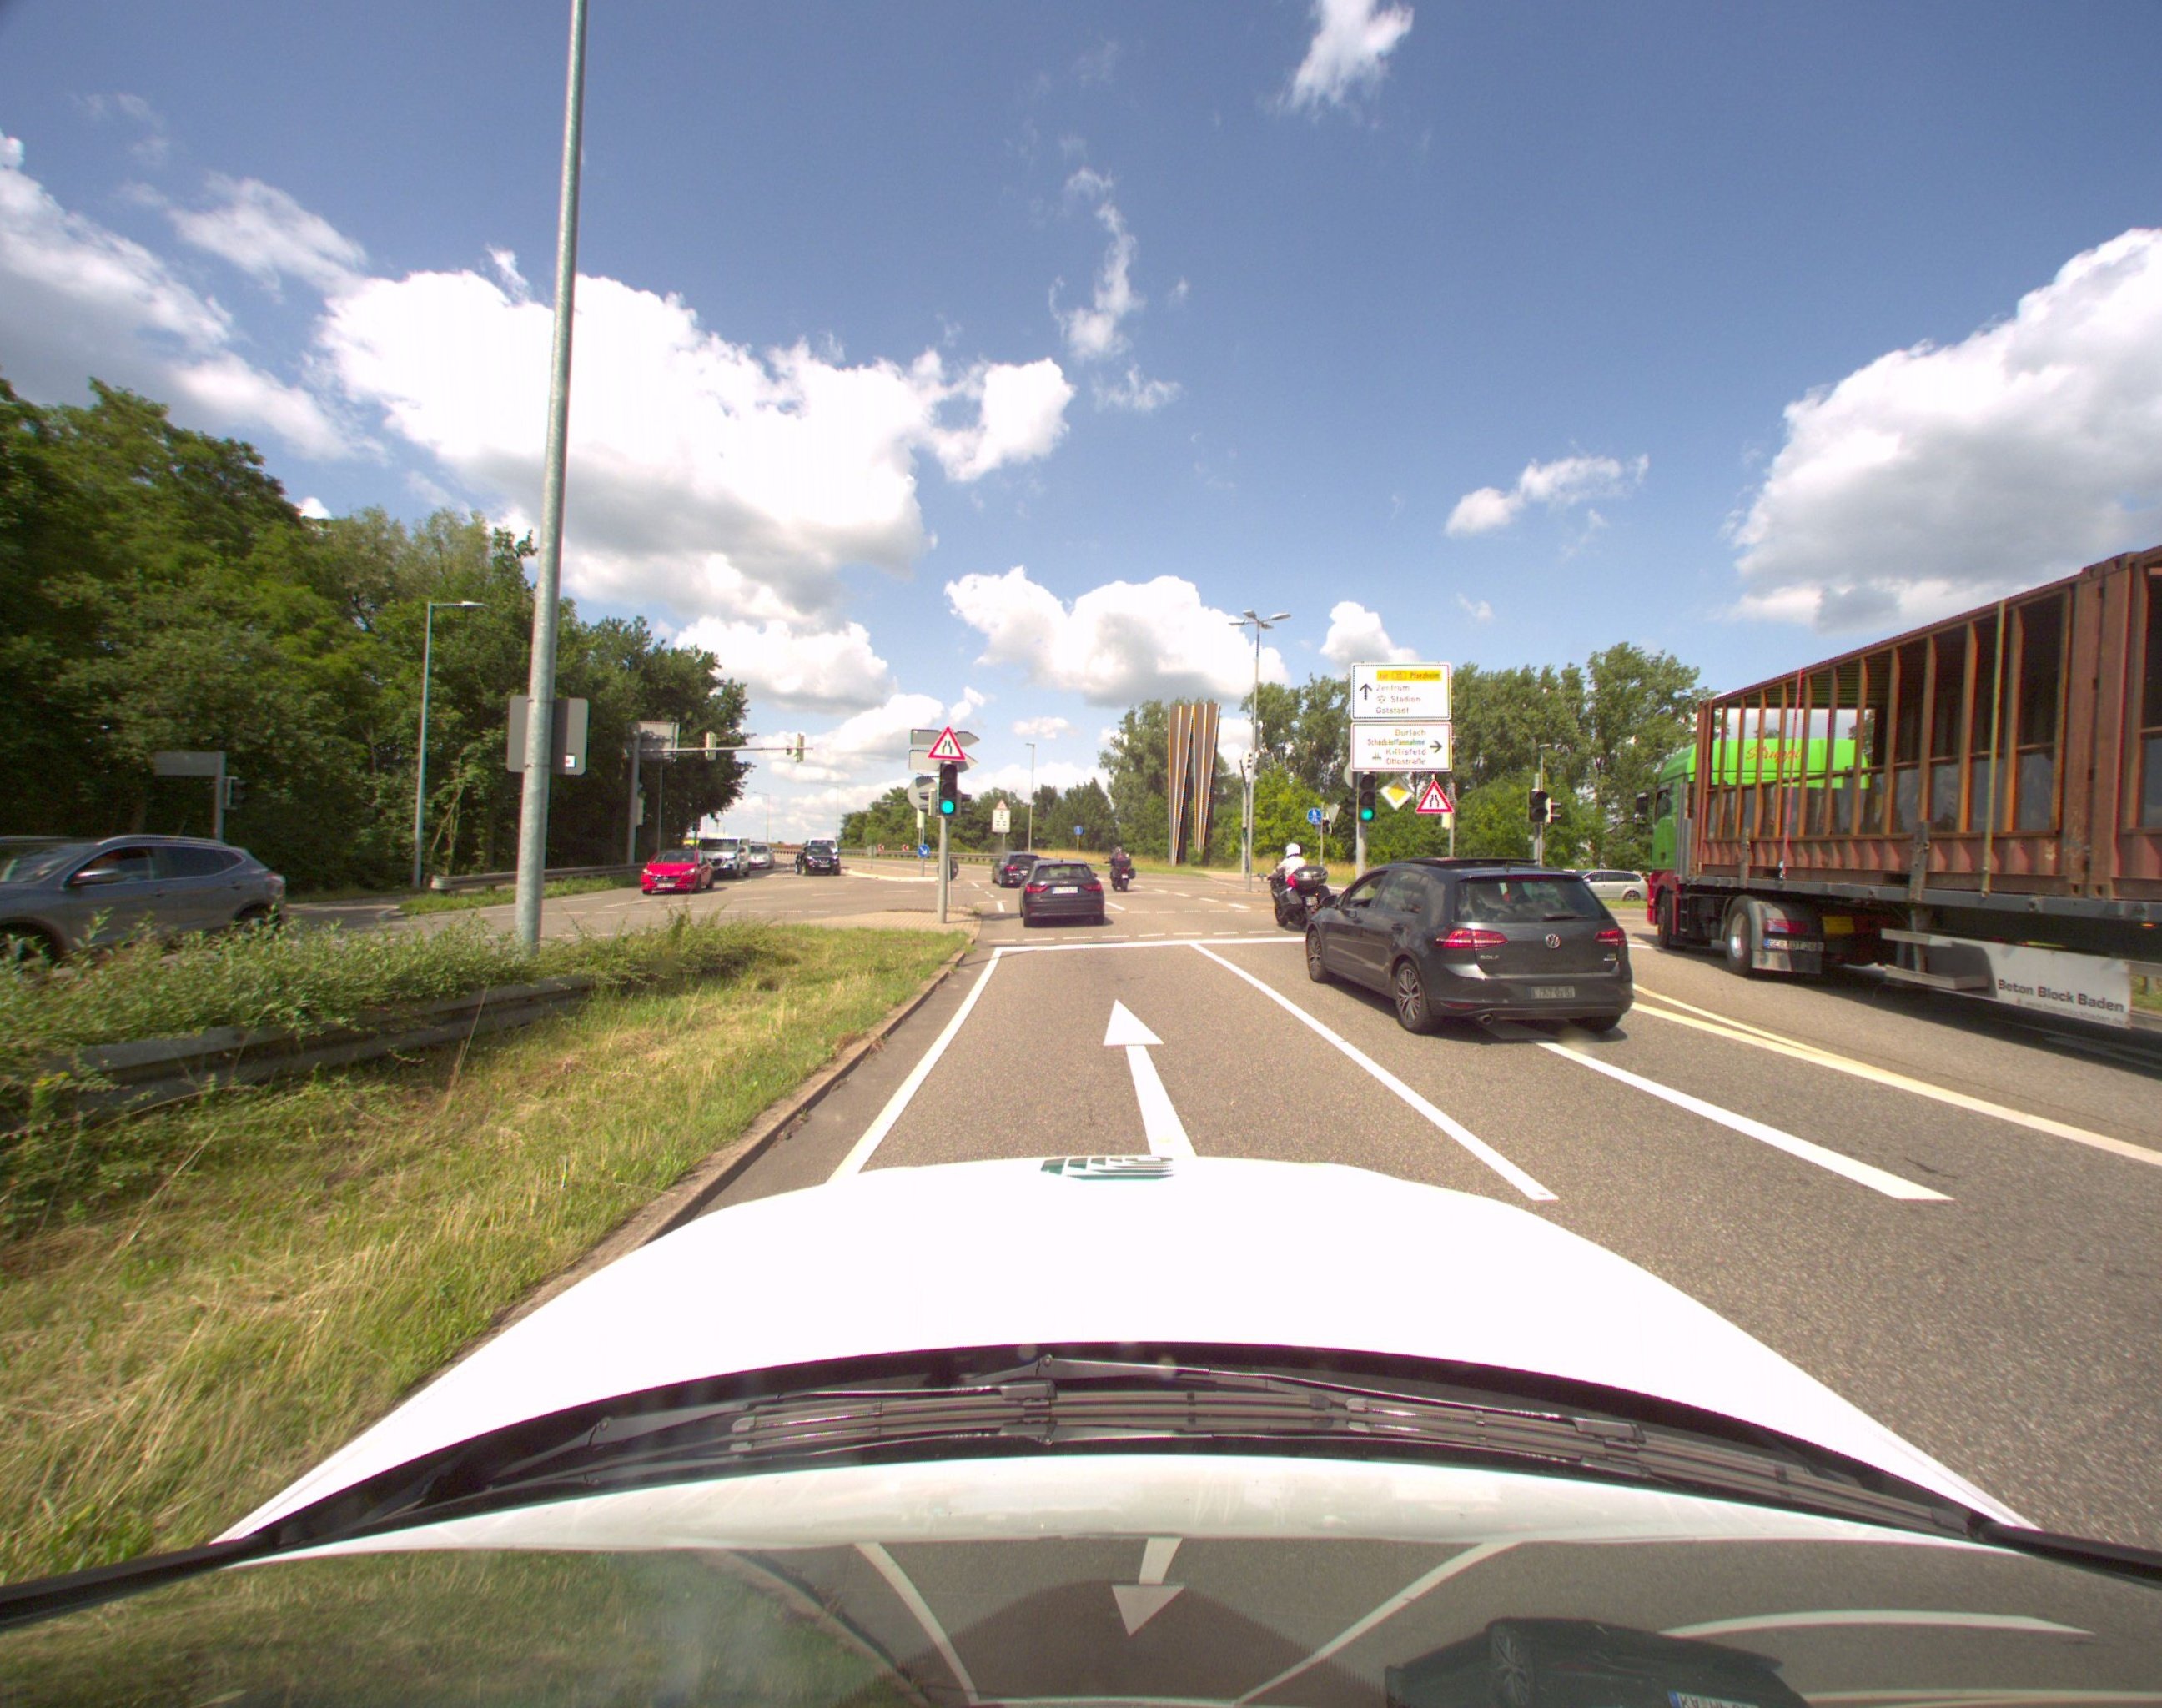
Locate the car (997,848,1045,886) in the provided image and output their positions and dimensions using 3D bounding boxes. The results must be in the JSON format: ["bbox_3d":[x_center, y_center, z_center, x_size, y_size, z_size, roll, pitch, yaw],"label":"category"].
[{"bbox_3d":[-2.435,0.523,33.917,1.636,1.479,3.873,0,0,1],"label":"car"}]

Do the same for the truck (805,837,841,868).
[{"bbox_3d":[-16.701,-0.113,52.536,1.967,1.913,5.334,0,1,-20],"label":"truck"}]

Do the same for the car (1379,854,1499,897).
[{"bbox_3d":[15.078,0.886,34.474,4.267,1.617,1.845,2,-1,0],"label":"car"}]

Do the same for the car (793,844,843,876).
[{"bbox_3d":[-13.433,0.269,41.467,1.708,1.557,3.787,0,1,-29],"label":"car"}]

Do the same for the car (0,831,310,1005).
[{"bbox_3d":[-10.921,0.601,8.720,1.710,1.586,4.269,-1,0,-9],"label":"car"}]

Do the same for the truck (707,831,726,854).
[{"bbox_3d":[-45.121,-1.452,100.805,2.003,2.620,6.056,-1,2,-24],"label":"truck"}]

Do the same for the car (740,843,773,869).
[{"bbox_3d":[-20.266,0.130,50.926,1.739,1.521,4.040,-2,1,-20],"label":"car"}]

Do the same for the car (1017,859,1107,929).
[{"bbox_3d":[-0.527,0.811,18.436,1.680,1.388,3.730,-1,0,-7],"label":"car"}]

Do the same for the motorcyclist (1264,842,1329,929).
[{"bbox_3d":[4.182,0.599,15.890,0.963,1.620,1.124,1,0,-1],"label":"motorcyclist"}]

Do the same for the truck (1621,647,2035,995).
[{"bbox_3d":[10.519,-0.377,12.370,2.843,3.903,5.910,3,0,25],"label":"truck"}]

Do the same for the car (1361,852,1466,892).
[{"bbox_3d":[15.666,0.828,38.529,4.188,1.645,1.838,2,1,0],"label":"car"}]

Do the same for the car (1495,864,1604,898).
[{"bbox_3d":[21.936,1.257,38.234,4.188,1.375,1.646,2,1,0],"label":"car"}]

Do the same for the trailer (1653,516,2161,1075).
[{"bbox_3d":[8.844,-0.365,5.720,2.621,3.891,13.893,3,0,12],"label":"trailer"}]

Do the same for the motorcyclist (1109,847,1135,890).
[{"bbox_3d":[1.581,0.543,31.167,0.962,1.596,1.125,1,0,2],"label":"motorcyclist"}]

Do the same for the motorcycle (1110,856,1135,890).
[{"bbox_3d":[1.575,0.697,31.047,0.884,1.247,2.401,1,0,3],"label":"motorcycle"}]

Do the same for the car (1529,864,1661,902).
[{"bbox_3d":[21.601,1.196,34.348,4.513,1.375,1.646,2,1,0],"label":"car"}]

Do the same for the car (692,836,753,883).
[{"bbox_3d":[-16.749,0.239,38.290,1.998,2.013,5.105,-1,0,-17],"label":"car"}]

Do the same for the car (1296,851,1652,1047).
[{"bbox_3d":[3.492,0.721,8.094,1.637,1.479,3.870,0,0,-1],"label":"car"}]

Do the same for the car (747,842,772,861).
[{"bbox_3d":[-26.710,-0.212,67.654,1.690,1.478,4.675,-1,1,-24],"label":"car"}]

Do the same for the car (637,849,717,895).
[{"bbox_3d":[-13.643,0.548,27.711,1.583,1.432,3.981,-1,0,-14],"label":"car"}]

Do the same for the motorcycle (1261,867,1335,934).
[{"bbox_3d":[4.133,0.845,15.696,0.786,1.132,2.399,1,0,0],"label":"motorcycle"}]
